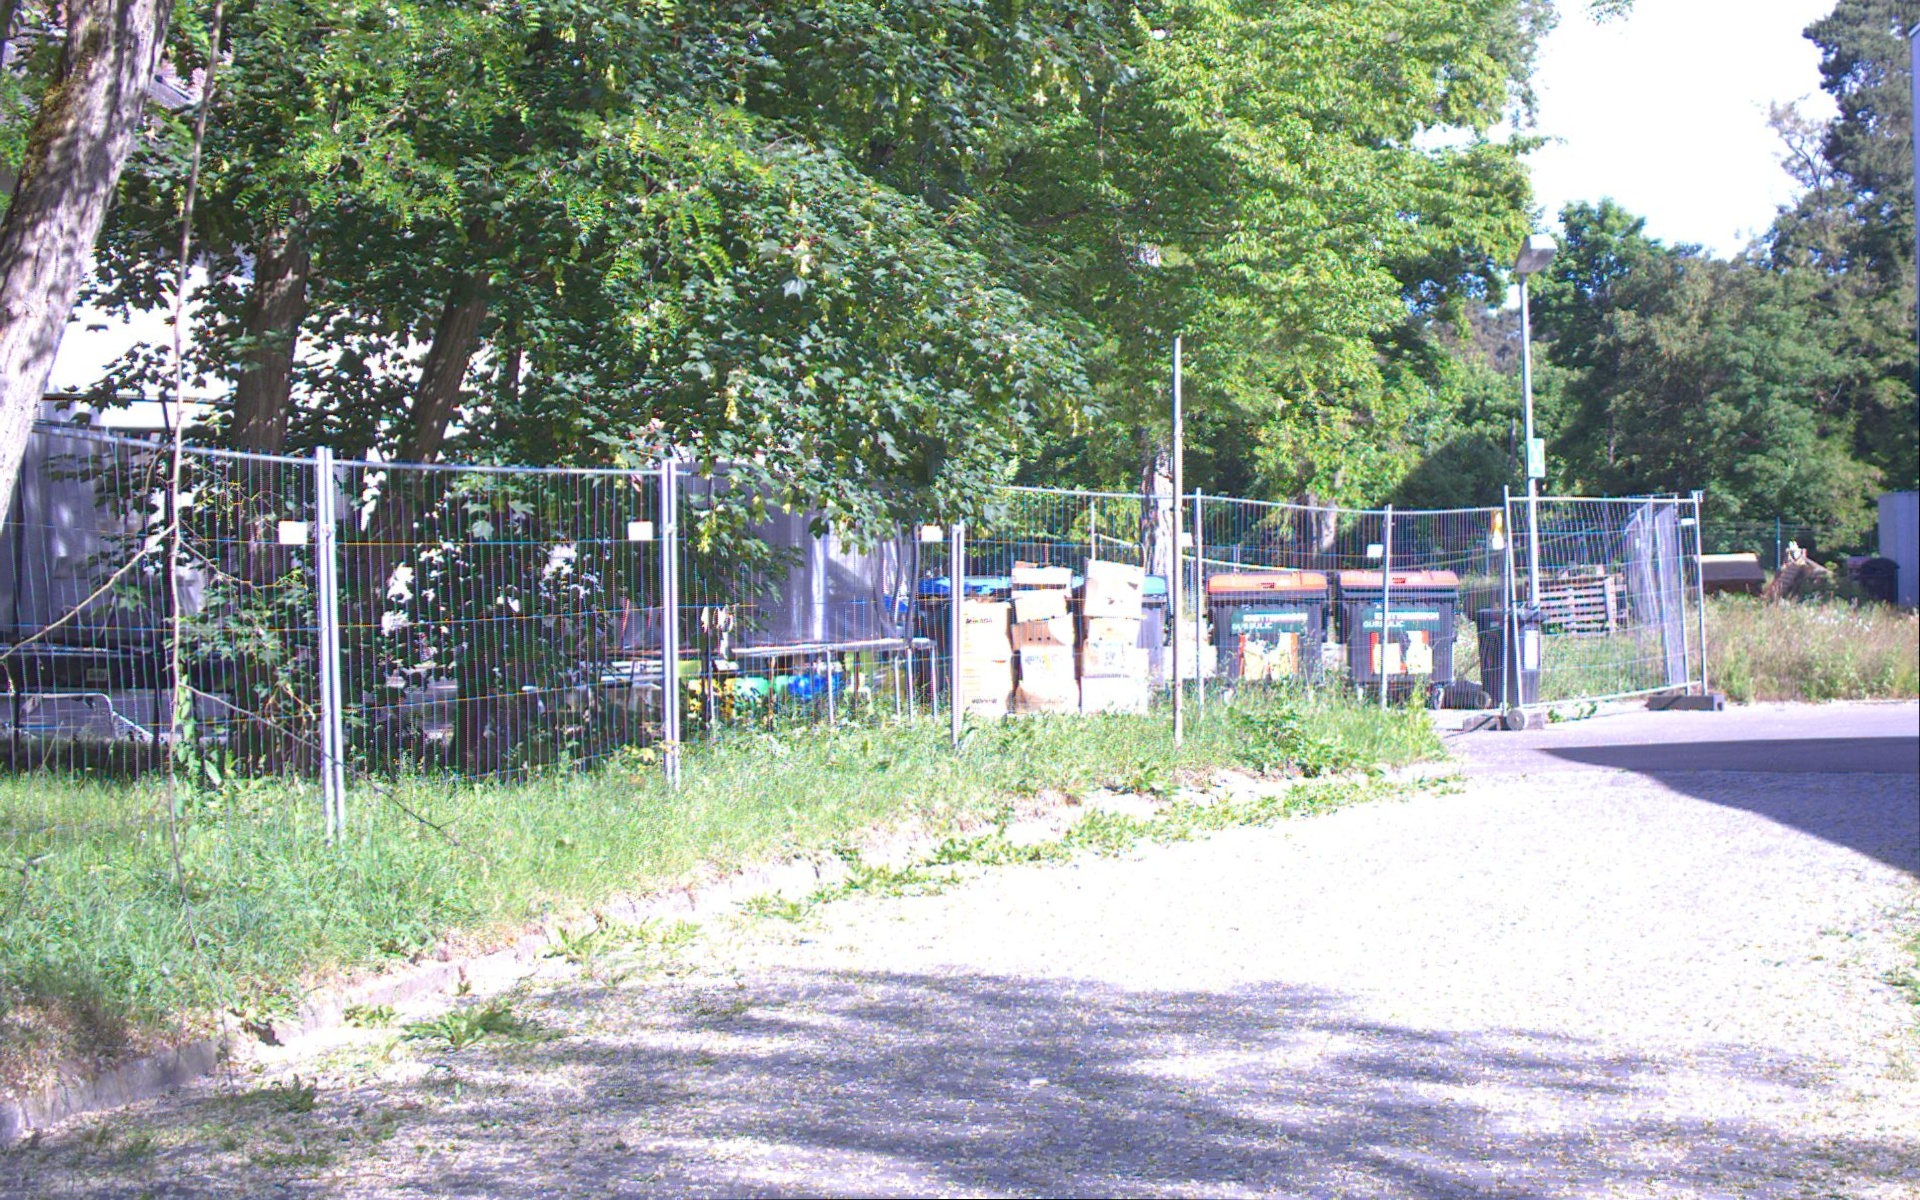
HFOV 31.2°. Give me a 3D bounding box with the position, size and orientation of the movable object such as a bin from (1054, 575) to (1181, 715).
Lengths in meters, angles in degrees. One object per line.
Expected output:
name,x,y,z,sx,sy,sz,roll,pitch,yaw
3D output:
movable object such as a bin,1.650,0.467,35.986,1.287,1.421,1.032,-1,0,3

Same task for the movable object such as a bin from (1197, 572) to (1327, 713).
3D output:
movable object such as a bin,3.135,0.437,35.838,1.287,1.421,1.032,-1,0,3

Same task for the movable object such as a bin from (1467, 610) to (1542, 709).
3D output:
movable object such as a bin,5.625,0.611,35.502,0.642,1.004,0.604,-1,0,21

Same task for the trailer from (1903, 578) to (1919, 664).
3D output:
trailer,14.744,0.267,48.251,2.711,1.195,1.246,-1,0,5

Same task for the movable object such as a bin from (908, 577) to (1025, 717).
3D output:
movable object such as a bin,0.076,0.491,36.178,1.084,1.433,1.055,-1,0,7

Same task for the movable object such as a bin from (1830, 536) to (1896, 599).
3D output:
movable object such as a bin,24.517,-0.874,93.431,1.363,1.650,2.841,-1,0,8

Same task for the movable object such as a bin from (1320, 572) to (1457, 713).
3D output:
movable object such as a bin,4.449,0.433,35.774,1.287,1.421,1.032,-1,0,2

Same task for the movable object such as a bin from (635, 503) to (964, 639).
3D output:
movable object such as a bin,-2.442,-0.437,53.201,4.872,1.963,1.932,-1,0,3
